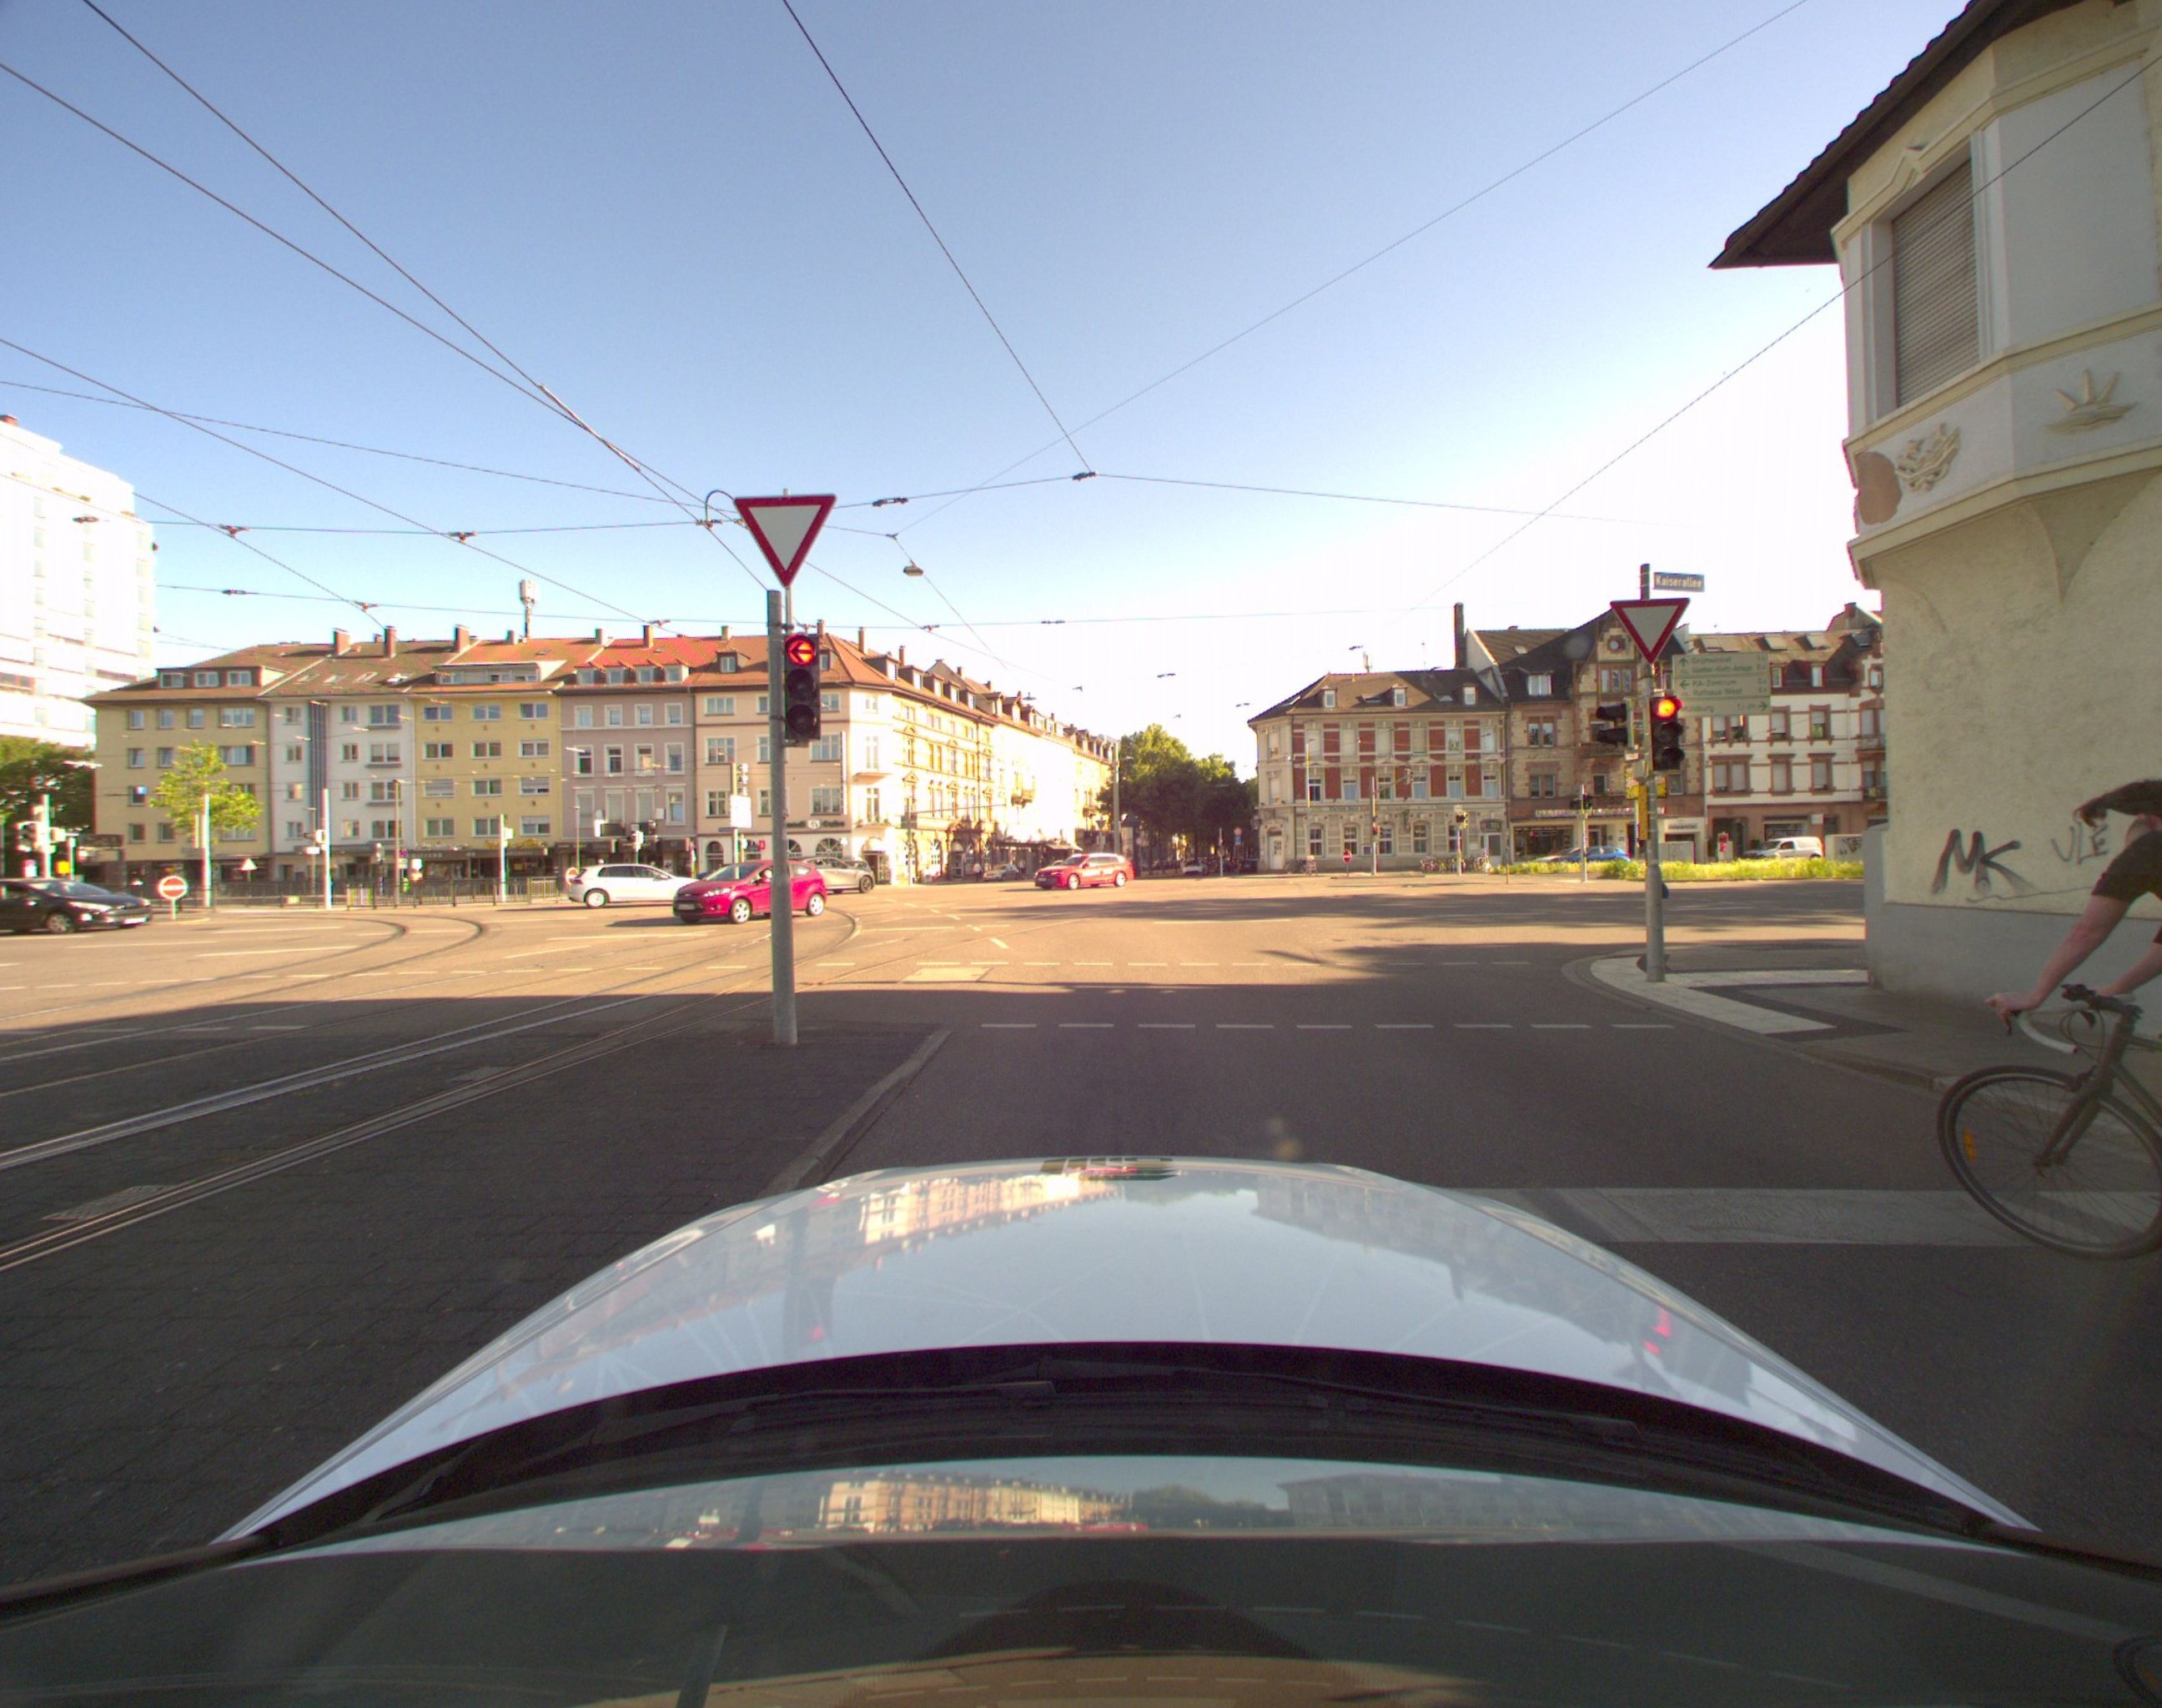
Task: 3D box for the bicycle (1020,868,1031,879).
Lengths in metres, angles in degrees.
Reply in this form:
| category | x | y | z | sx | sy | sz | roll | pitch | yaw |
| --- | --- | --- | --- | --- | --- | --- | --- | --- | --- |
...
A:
| category | x | y | z | sx | sy | sz | roll | pitch | yaw |
| --- | --- | --- | --- | --- | --- | --- | --- | --- | --- |
| bicycle | -4.618 | 1.592 | 67.653 | 0.469 | 0.922 | 1.458 | -1 | -1 | 17 |

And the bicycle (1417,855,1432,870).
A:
| category | x | y | z | sx | sy | sz | roll | pitch | yaw |
| --- | --- | --- | --- | --- | --- | --- | --- | --- | --- |
| bicycle | 22.506 | 0.575 | 53.354 | 0.758 | 0.963 | 2.221 | -1 | -1 | 20 |

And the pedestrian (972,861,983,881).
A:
| category | x | y | z | sx | sy | sz | roll | pitch | yaw |
| --- | --- | --- | --- | --- | --- | --- | --- | --- | --- |
| pedestrian | -8.710 | 1.425 | 68.294 | 0.562 | 1.642 | 0.797 | -1 | -1 | 25 |

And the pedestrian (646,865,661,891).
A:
| category | x | y | z | sx | sy | sz | roll | pitch | yaw |
| --- | --- | --- | --- | --- | --- | --- | --- | --- | --- |
| pedestrian | -26.580 | 1.491 | 50.637 | 0.582 | 1.648 | 0.616 | 0 | -1 | 1 |

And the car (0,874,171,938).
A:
| category | x | y | z | sx | sy | sz | roll | pitch | yaw |
| --- | --- | --- | --- | --- | --- | --- | --- | --- | --- |
| car | -27.908 | 1.407 | 22.093 | 4.180 | 1.517 | 2.001 | -2 | 0 | 2 |

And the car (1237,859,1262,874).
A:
| category | x | y | z | sx | sy | sz | roll | pitch | yaw |
| --- | --- | --- | --- | --- | --- | --- | --- | --- | --- |
| car | 17.004 | 1.254 | 82.283 | 1.741 | 1.556 | 4.021 | -1 | -1 | 22 |

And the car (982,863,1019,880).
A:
| category | x | y | z | sx | sy | sz | roll | pitch | yaw |
| --- | --- | --- | --- | --- | --- | --- | --- | --- | --- |
| car | -6.624 | 1.441 | 67.321 | 1.647 | 1.374 | 3.909 | -1 | -1 | 17 |

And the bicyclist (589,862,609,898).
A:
| category | x | y | z | sx | sy | sz | roll | pitch | yaw |
| --- | --- | --- | --- | --- | --- | --- | --- | --- | --- |
| bicyclist | -23.893 | 1.285 | 40.354 | 0.618 | 1.790 | 0.616 | 0 | -1 | 7 |

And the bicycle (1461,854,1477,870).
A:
| category | x | y | z | sx | sy | sz | roll | pitch | yaw |
| --- | --- | --- | --- | --- | --- | --- | --- | --- | --- |
| bicycle | 25.197 | 0.540 | 52.887 | 0.758 | 1.007 | 2.231 | -1 | -1 | 20 |

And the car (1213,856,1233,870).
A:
| category | x | y | z | sx | sy | sz | roll | pitch | yaw |
| --- | --- | --- | --- | --- | --- | --- | --- | --- | --- |
| car | 15.338 | 0.959 | 87.882 | 1.812 | 1.403 | 4.016 | -1 | 0 | 15 |

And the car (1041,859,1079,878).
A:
| category | x | y | z | sx | sy | sz | roll | pitch | yaw |
| --- | --- | --- | --- | --- | --- | --- | --- | --- | --- |
| car | -1.678 | 1.179 | 67.475 | 1.788 | 1.585 | 4.179 | -1 | -1 | 19 |

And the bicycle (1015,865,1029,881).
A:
| category | x | y | z | sx | sy | sz | roll | pitch | yaw |
| --- | --- | --- | --- | --- | --- | --- | --- | --- | --- |
| bicycle | -4.750 | 1.488 | 65.405 | 0.561 | 1.254 | 1.564 | -1 | -1 | 17 |

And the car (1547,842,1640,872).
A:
| category | x | y | z | sx | sy | sz | roll | pitch | yaw |
| --- | --- | --- | --- | --- | --- | --- | --- | --- | --- |
| car | 28.330 | 0.176 | 45.111 | 3.970 | 1.622 | 1.806 | 0 | -1 | 3 |

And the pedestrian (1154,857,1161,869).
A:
| category | x | y | z | sx | sy | sz | roll | pitch | yaw |
| --- | --- | --- | --- | --- | --- | --- | --- | --- | --- |
| pedestrian | 11.084 | 1.285 | 117.877 | 0.714 | 1.790 | 0.690 | 0 | -1 | -34 |

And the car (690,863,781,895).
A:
| category | x | y | z | sx | sy | sz | roll | pitch | yaw |
| --- | --- | --- | --- | --- | --- | --- | --- | --- | --- |
| car | -18.516 | 1.332 | 43.726 | 4.156 | 1.575 | 1.838 | -1 | 0 | 13 |

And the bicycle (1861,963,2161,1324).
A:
| category | x | y | z | sx | sy | sz | roll | pitch | yaw |
| --- | --- | --- | --- | --- | --- | --- | --- | --- | --- |
| bicycle | 3.587 | 0.959 | 2.621 | 0.480 | 0.991 | 1.783 | 0 | -1 | 2 |

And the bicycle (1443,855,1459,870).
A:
| category | x | y | z | sx | sy | sz | roll | pitch | yaw |
| --- | --- | --- | --- | --- | --- | --- | --- | --- | --- |
| bicycle | 24.048 | 0.561 | 52.964 | 0.758 | 0.983 | 2.221 | -1 | -1 | 20 |

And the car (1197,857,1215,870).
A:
| category | x | y | z | sx | sy | sz | roll | pitch | yaw |
| --- | --- | --- | --- | --- | --- | --- | --- | --- | --- |
| car | 17.838 | 1.349 | 116.228 | 1.978 | 1.684 | 4.018 | -1 | -1 | 17 |

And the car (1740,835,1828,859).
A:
| category | x | y | z | sx | sy | sz | roll | pitch | yaw |
| --- | --- | --- | --- | --- | --- | --- | --- | --- | --- |
| car | 45.187 | -0.445 | 52.429 | 3.961 | 1.438 | 1.874 | 0 | -1 | 5 |

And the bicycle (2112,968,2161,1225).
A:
| category | x | y | z | sx | sy | sz | roll | pitch | yaw |
| --- | --- | --- | --- | --- | --- | --- | --- | --- | --- |
| bicycle | 4.457 | 0.952 | 2.442 | 0.501 | 0.983 | 1.783 | 0 | -1 | 2 |

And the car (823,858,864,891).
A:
| category | x | y | z | sx | sy | sz | roll | pitch | yaw |
| --- | --- | --- | --- | --- | --- | --- | --- | --- | --- |
| car | -12.195 | 1.004 | 41.654 | 1.790 | 1.503 | 3.894 | -2 | 1 | -19 |

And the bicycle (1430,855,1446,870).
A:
| category | x | y | z | sx | sy | sz | roll | pitch | yaw |
| --- | --- | --- | --- | --- | --- | --- | --- | --- | --- |
| bicycle | 23.262 | 0.568 | 53.087 | 0.758 | 0.968 | 2.221 | -1 | -1 | 20 |

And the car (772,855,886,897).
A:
| category | x | y | z | sx | sy | sz | roll | pitch | yaw |
| --- | --- | --- | --- | --- | --- | --- | --- | --- | --- |
| car | -10.687 | 0.887 | 34.837 | 1.850 | 1.602 | 4.482 | -2 | 0 | 31 |

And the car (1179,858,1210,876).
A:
| category | x | y | z | sx | sy | sz | roll | pitch | yaw |
| --- | --- | --- | --- | --- | --- | --- | --- | --- | --- |
| car | 10.140 | 1.134 | 72.625 | 1.877 | 1.454 | 4.028 | -2 | 1 | 19 |

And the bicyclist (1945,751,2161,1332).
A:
| category | x | y | z | sx | sy | sz | roll | pitch | yaw |
| --- | --- | --- | --- | --- | --- | --- | --- | --- | --- |
| bicyclist | 3.583 | 0.571 | 2.625 | 0.587 | 1.767 | 0.936 | 0 | -1 | 2 |

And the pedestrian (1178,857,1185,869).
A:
| category | x | y | z | sx | sy | sz | roll | pitch | yaw |
| --- | --- | --- | --- | --- | --- | --- | --- | --- | --- |
| pedestrian | 16.303 | 1.476 | 131.810 | 0.745 | 2.014 | 1.005 | -1 | -1 | 26 |

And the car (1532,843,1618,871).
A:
| category | x | y | z | sx | sy | sz | roll | pitch | yaw |
| --- | --- | --- | --- | --- | --- | --- | --- | --- | --- |
| car | 29.195 | 0.195 | 48.237 | 3.970 | 1.622 | 1.806 | 0 | -1 | 3 |

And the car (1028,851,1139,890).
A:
| category | x | y | z | sx | sy | sz | roll | pitch | yaw |
| --- | --- | --- | --- | --- | --- | --- | --- | --- | --- |
| car | 0.197 | 0.650 | 35.248 | 4.902 | 1.469 | 1.781 | -2 | 1 | -43 |

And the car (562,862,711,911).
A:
| category | x | y | z | sx | sy | sz | roll | pitch | yaw |
| --- | --- | --- | --- | --- | --- | --- | --- | --- | --- |
| car | -14.777 | 1.028 | 27.189 | 4.242 | 1.389 | 1.717 | -2 | 0 | -32 |

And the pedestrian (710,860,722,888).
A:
| category | x | y | z | sx | sy | sz | roll | pitch | yaw |
| --- | --- | --- | --- | --- | --- | --- | --- | --- | --- |
| pedestrian | -21.949 | 1.204 | 48.965 | 0.520 | 1.648 | 0.498 | 0 | -1 | 1 |

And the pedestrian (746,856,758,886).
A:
| category | x | y | z | sx | sy | sz | roll | pitch | yaw |
| --- | --- | --- | --- | --- | --- | --- | --- | --- | --- |
| pedestrian | -19.949 | 1.022 | 49.379 | 0.526 | 1.823 | 0.675 | 0 | -1 | -6 |

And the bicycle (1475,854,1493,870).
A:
| category | x | y | z | sx | sy | sz | roll | pitch | yaw |
| --- | --- | --- | --- | --- | --- | --- | --- | --- | --- |
| bicycle | 25.960 | 0.530 | 52.524 | 0.785 | 1.016 | 2.221 | -1 | -1 | 20 |

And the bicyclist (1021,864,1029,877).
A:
| category | x | y | z | sx | sy | sz | roll | pitch | yaw |
| --- | --- | --- | --- | --- | --- | --- | --- | --- | --- |
| bicyclist | -4.628 | 1.391 | 67.637 | 0.469 | 1.040 | 0.540 | -1 | -1 | 17 |

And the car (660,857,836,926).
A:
| category | x | y | z | sx | sy | sz | roll | pitch | yaw |
| --- | --- | --- | --- | --- | --- | --- | --- | --- | --- |
| car | -7.868 | 0.822 | 19.638 | 1.576 | 1.426 | 3.904 | -1 | 0 | 23 |

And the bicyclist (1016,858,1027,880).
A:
| category | x | y | z | sx | sy | sz | roll | pitch | yaw |
| --- | --- | --- | --- | --- | --- | --- | --- | --- | --- |
| bicyclist | -4.759 | 1.215 | 65.416 | 0.561 | 1.804 | 0.918 | -1 | -1 | 17 |

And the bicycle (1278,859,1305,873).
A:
| category | x | y | z | sx | sy | sz | roll | pitch | yaw |
| --- | --- | --- | --- | --- | --- | --- | --- | --- | --- |
| bicycle | 14.710 | 0.827 | 56.915 | 1.789 | 0.963 | 0.606 | -1 | -1 | 16 |
